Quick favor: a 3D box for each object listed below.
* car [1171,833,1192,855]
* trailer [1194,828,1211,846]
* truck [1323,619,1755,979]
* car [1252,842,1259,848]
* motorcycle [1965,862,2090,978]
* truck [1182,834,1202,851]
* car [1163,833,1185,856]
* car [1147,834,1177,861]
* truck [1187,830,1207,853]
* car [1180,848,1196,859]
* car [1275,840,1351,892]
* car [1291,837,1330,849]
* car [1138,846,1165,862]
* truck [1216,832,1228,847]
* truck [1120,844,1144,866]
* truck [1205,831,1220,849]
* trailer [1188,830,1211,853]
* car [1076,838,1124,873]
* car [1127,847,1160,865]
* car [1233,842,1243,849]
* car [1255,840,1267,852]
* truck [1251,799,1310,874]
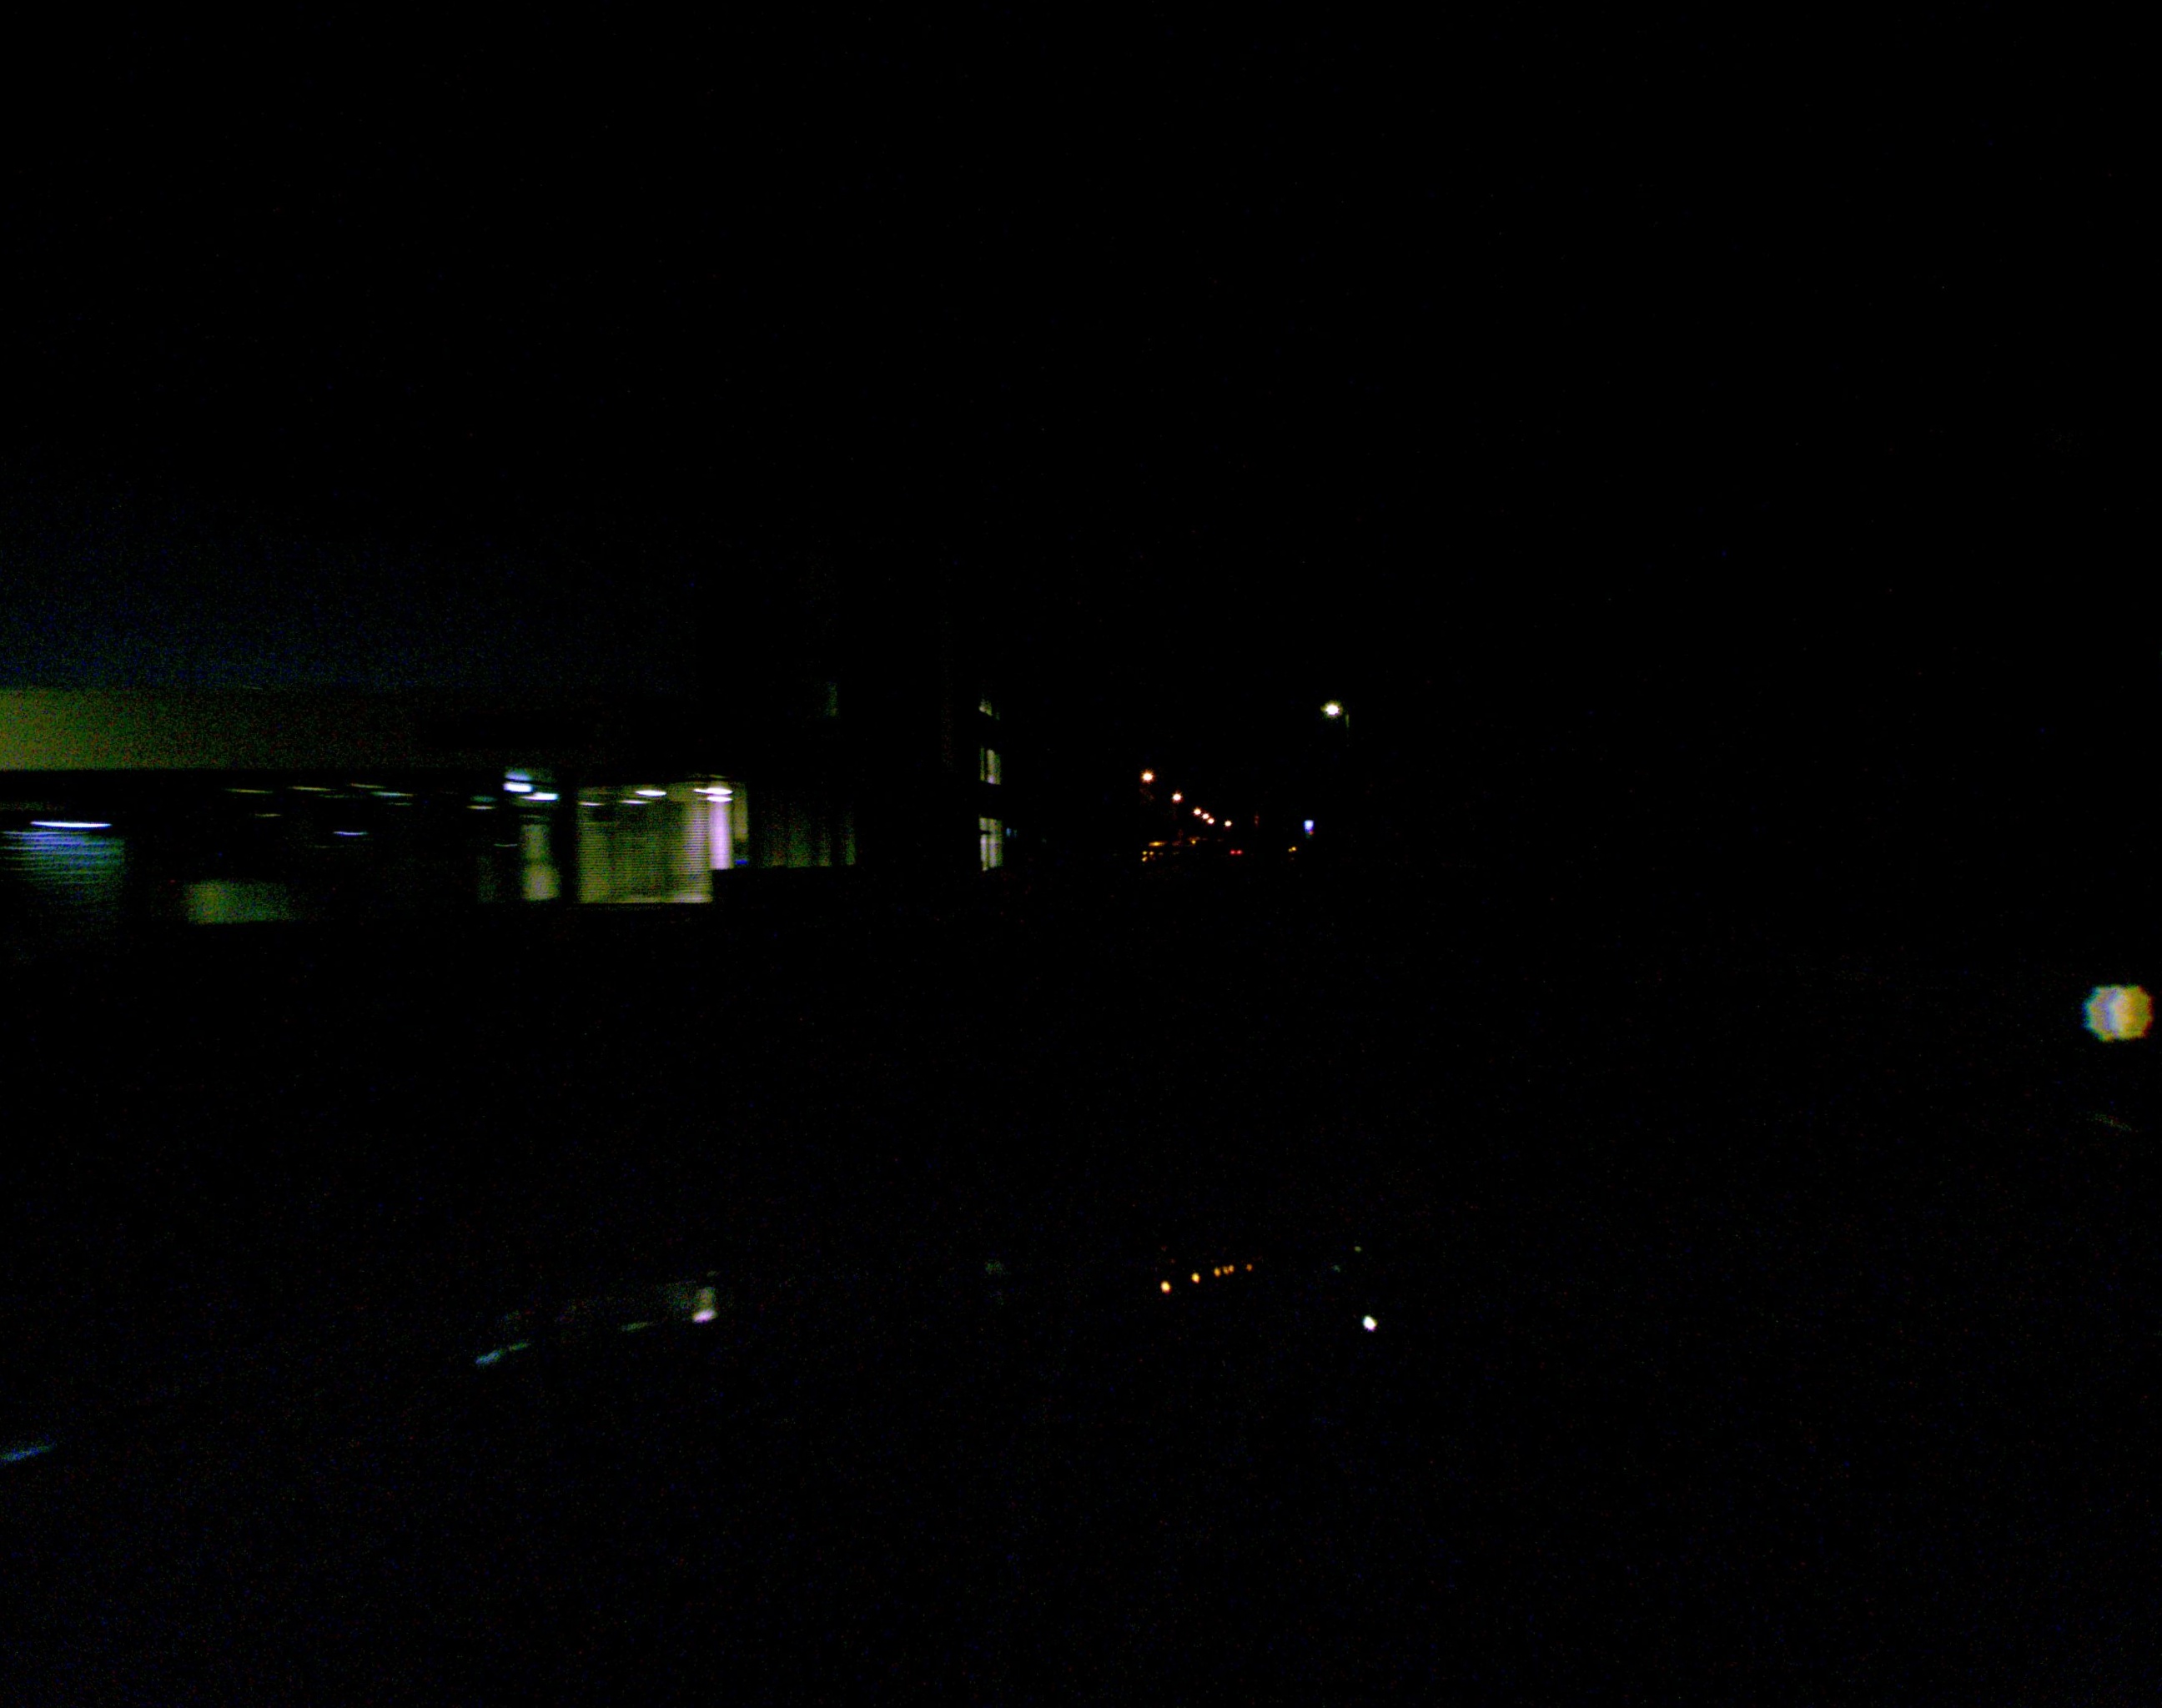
[{"bbox_3d":[13.002,-1.267,98.366,1.997,2.556,6.019,-4,0,13],"label":"car"},{"bbox_3d":[24.836,-3.401,154.821,2.882,3.504,8.291,-1,0,13],"label":"trailer"},{"bbox_3d":[6.756,-0.646,13.451,2.778,4.096,9.344,-1,1,5],"label":"truck"},{"bbox_3d":[44.182,-2.351,192.655,1.689,1.357,3.882,-2,1,13],"label":"car"},{"bbox_3d":[10.846,0.715,8.696,1.694,1.095,0.530,-5,3,-26],"label":"motorcycle"},{"bbox_3d":[17.587,-1.809,119.893,2.405,2.579,6.603,-1,0,14],"label":"truck"},{"bbox_3d":[11.260,-1.086,91.352,2.132,2.556,5.913,-4,0,10],"label":"car"},{"bbox_3d":[8.343,-0.636,77.876,1.996,2.511,5.915,-4,0,15],"label":"car"},{"bbox_3d":[19.791,-2.106,129.516,2.770,3.742,5.232,-2,1,13],"label":"truck"},{"bbox_3d":[15.867,-0.116,112.722,1.833,1.399,4.913,-4,0,13],"label":"car"},{"bbox_3d":[8.459,0.385,28.140,1.947,1.707,5.201,-1,1,8],"label":"car"},{"bbox_3d":[29.387,-1.417,97.358,4.417,1.432,1.791,-1,1,-16],"label":"car"},{"bbox_3d":[6.687,-0.027,71.546,1.772,1.404,4.555,-1,0,15],"label":"car"},{"bbox_3d":[39.681,-3.993,213.788,2.657,3.850,10.242,-2,-2,13],"label":"truck"},{"bbox_3d":[4.053,0.074,60.519,1.372,1.635,3.815,-1,1,12],"label":"truck"},{"bbox_3d":[31.712,-3.343,182.787,2.795,3.947,9.830,-2,0,12],"label":"truck"},{"bbox_3d":[21.408,-2.243,136.526,2.770,3.742,14.668,-2,1,13],"label":"trailer"},{"bbox_3d":[1.212,0.064,46.504,1.996,2.002,4.916,-1,1,13],"label":"car"},{"bbox_3d":[5.399,0.169,65.117,1.949,1.480,5.015,-1,0,15],"label":"car"},{"bbox_3d":[29.788,-1.639,144.329,1.860,1.412,4.003,-1,1,12],"label":"car"},{"bbox_3d":[28.942,-1.305,122.316,1.807,1.788,4.882,-1,0,13],"label":"car"},{"bbox_3d":[11.973,-0.993,46.346,2.751,4.011,9.567,-1,1,11],"label":"truck"}]
